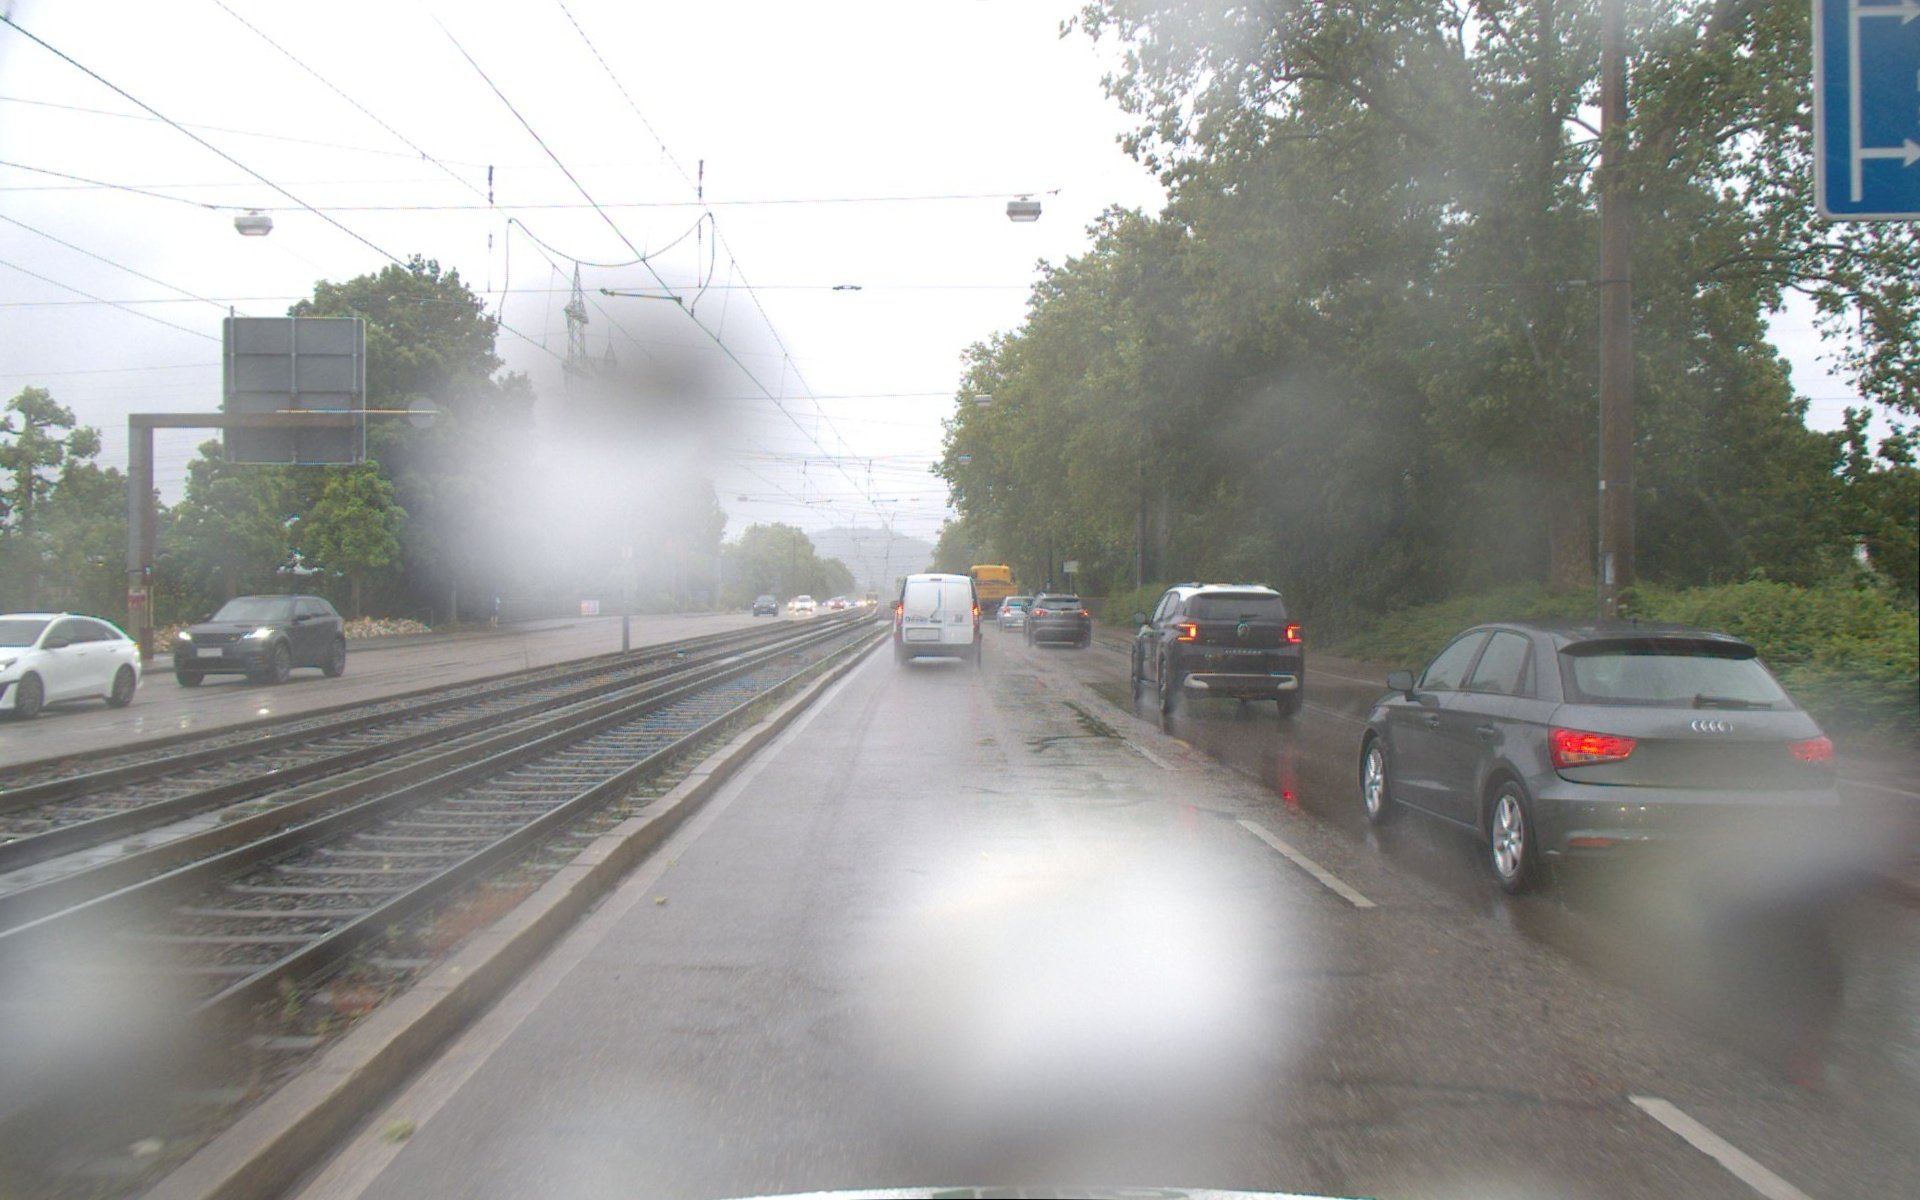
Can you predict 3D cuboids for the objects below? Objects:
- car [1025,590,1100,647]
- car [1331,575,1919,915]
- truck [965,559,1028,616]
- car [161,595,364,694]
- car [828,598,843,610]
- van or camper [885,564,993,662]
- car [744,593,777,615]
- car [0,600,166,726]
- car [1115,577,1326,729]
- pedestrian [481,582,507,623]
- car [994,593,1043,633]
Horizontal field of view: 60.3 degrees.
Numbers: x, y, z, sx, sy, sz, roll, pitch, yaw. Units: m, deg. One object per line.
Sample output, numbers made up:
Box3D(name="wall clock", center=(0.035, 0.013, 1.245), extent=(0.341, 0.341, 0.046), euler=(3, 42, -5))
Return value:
Box3D(name="car", center=(2.807, 0.476, 45.938), extent=(1.781, 1.438, 3.778), euler=(1, 1, -1))
Box3D(name="car", center=(3.691, 0.659, 9.753), extent=(1.928, 1.555, 3.989), euler=(1, 1, -3))
Box3D(name="truck", center=(1.866, -0.666, 87.649), extent=(3.050, 2.821, 6.327), euler=(1, 0, -1))
Box3D(name="car", center=(-13.593, 0.809, 32.593), extent=(1.953, 1.751, 4.881), euler=(-1, 0, -1))
Box3D(name="car", center=(-16.462, 0.498, 218.865), extent=(1.623, 1.512, 4.013), euler=(0, 0, 0))
Box3D(name="van or camper", center=(-0.498, 0.208, 33.689), extent=(1.954, 1.815, 3.998), euler=(2, 1, -4))
Box3D(name="car", center=(-15.211, 0.262, 126.320), extent=(1.952, 1.646, 4.253), euler=(0, 0, 1))
Box3D(name="car", center=(-13.604, 0.833, 23.988), extent=(1.953, 1.611, 4.765), euler=(-1, 0, -1))
Box3D(name="car", center=(3.317, 0.601, 21.998), extent=(1.861, 1.746, 4.724), euler=(1, 1, -2))
Box3D(name="pedestrian", center=(-20.956, 0.110, 74.369), extent=(0.834, 1.790, 1.120), euler=(-1, 0, -1))
Box3D(name="car", center=(2.303, 0.503, 65.788), extent=(1.781, 1.438, 3.778), euler=(1, 1, -1))
